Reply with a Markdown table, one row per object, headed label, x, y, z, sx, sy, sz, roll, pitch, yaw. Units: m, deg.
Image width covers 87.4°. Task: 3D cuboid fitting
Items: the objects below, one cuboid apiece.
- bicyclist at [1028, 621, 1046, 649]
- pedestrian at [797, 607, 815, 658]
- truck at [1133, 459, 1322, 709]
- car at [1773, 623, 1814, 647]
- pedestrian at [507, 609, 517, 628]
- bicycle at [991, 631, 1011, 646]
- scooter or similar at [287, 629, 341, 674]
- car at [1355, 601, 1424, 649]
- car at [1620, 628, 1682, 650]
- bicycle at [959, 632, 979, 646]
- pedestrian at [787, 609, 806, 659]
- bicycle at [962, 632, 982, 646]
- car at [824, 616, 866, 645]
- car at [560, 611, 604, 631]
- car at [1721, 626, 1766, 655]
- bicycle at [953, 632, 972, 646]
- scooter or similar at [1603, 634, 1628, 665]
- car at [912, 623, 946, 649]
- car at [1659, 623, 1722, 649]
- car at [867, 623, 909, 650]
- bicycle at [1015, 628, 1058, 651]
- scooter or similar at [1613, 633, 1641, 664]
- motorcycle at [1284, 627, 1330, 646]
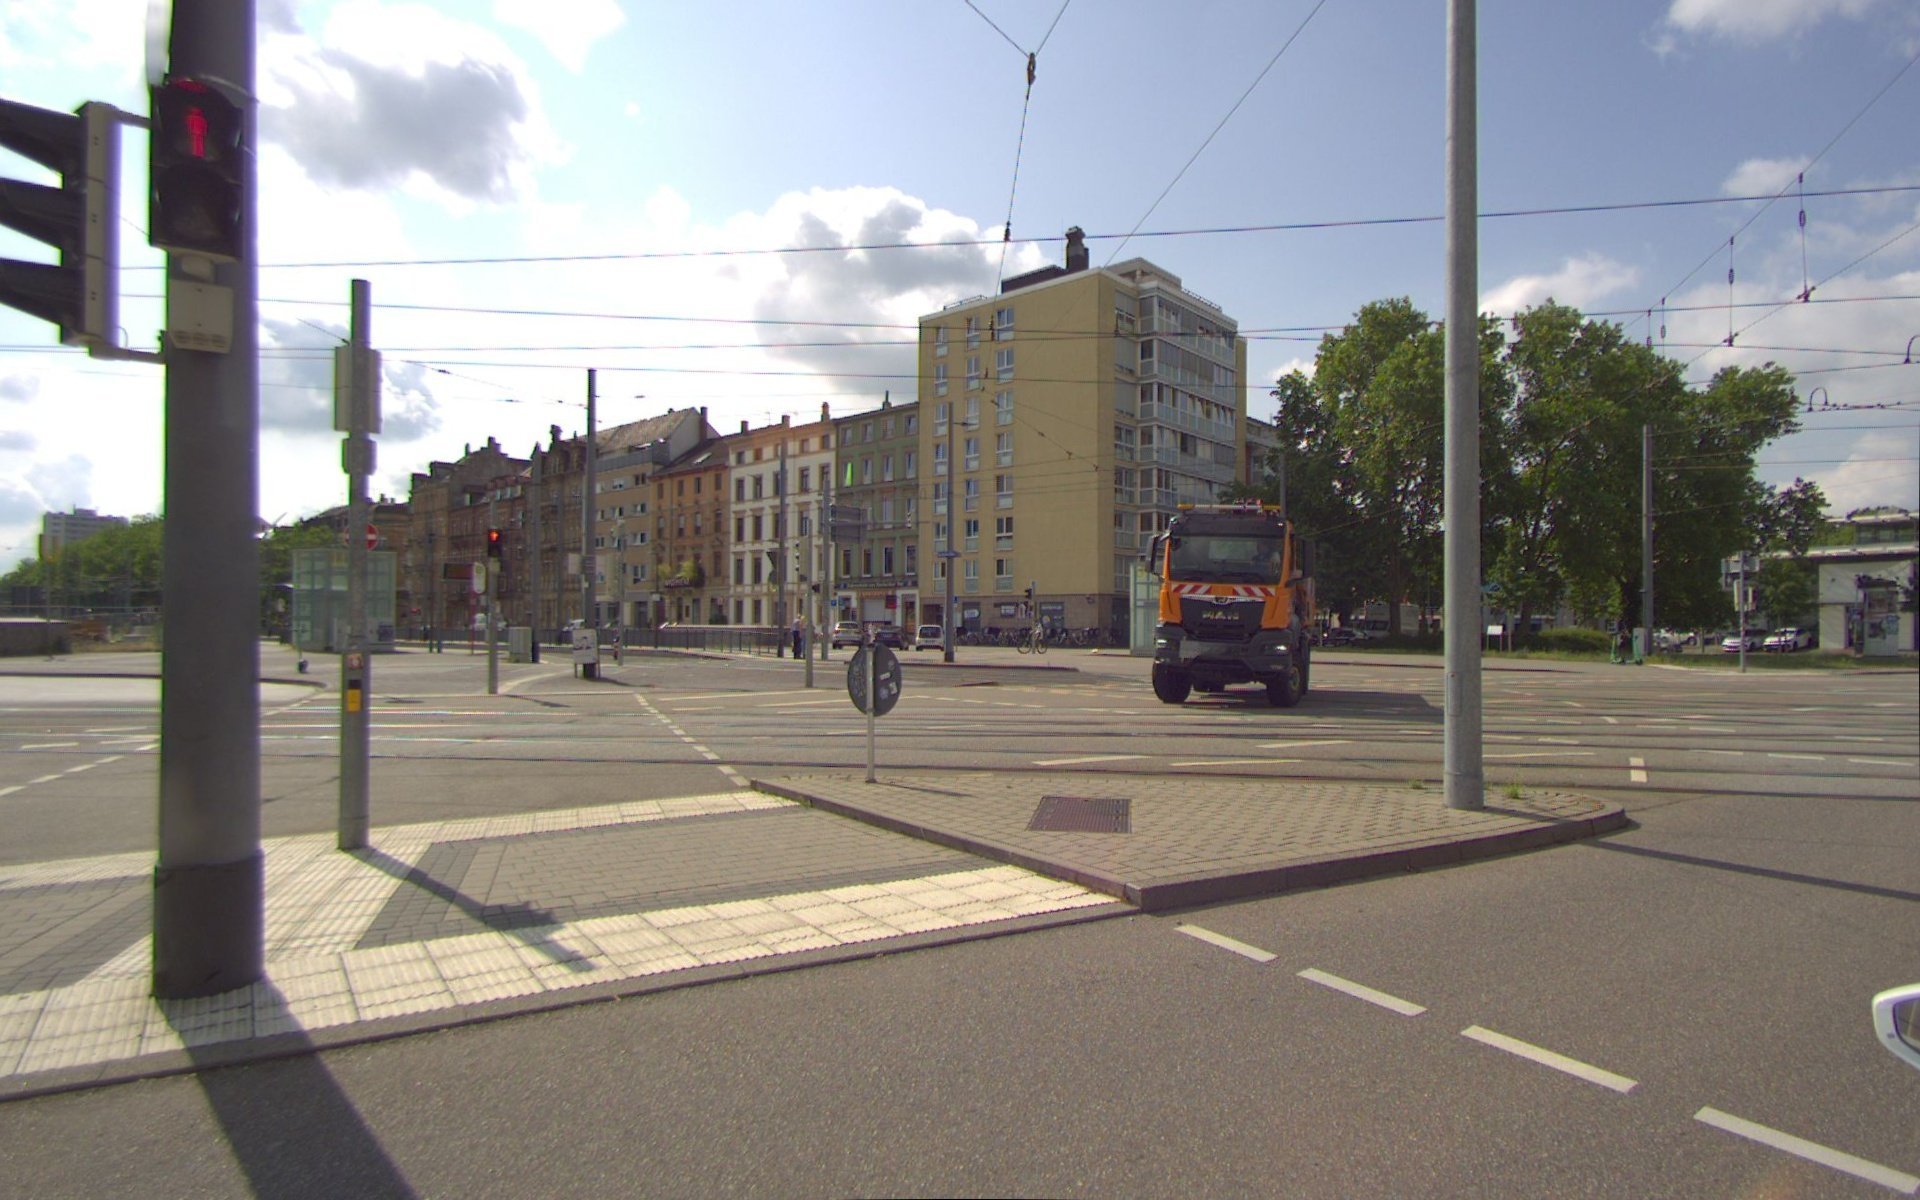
| label | x | y | z | sx | sy | sz | roll | pitch | yaw |
| --- | --- | --- | --- | --- | --- | --- | --- | --- | --- |
| bicyclist | 3.868 | 1.761 | 50.609 | 0.773 | 1.354 | 0.393 | 2 | 0 | -23 |
| pedestrian | -6.183 | 1.289 | 40.257 | 0.568 | 2.040 | 0.426 | 0 | -1 | 31 |
| truck | 5.803 | -0.158 | 20.629 | 2.782 | 4.061 | 8.070 | 0 | -1 | 22 |
| car | 62.825 | 2.636 | 75.706 | 3.968 | 1.704 | 1.770 | 2 | -2 | -40 |
| pedestrian | -45.314 | 1.873 | 101.527 | 0.681 | 1.928 | 0.664 | -1 | -1 | 24 |
| bicycle | 2.664 | 2.514 | 65.650 | 1.443 | 0.935 | 0.291 | 2 | 0 | 43 |
| scooter or similar | -17.530 | 1.376 | 27.252 | 1.148 | 1.182 | 0.811 | -1 | -1 | 33 |
| car | 28.886 | 1.716 | 67.398 | 1.972 | 3.083 | 7.209 | -1 | -2 | 42 |
| car | 54.040 | 3.055 | 78.584 | 1.654 | 1.508 | 3.651 | 1 | 1 | -31 |
| bicycle | 0.611 | 2.607 | 67.321 | 1.442 | 0.935 | 0.292 | 1 | -1 | 40 |
| pedestrian | -6.616 | 1.375 | 40.663 | 0.506 | 2.040 | 0.502 | 0 | -1 | 31 |
| bicycle | 0.816 | 2.608 | 67.564 | 1.442 | 0.935 | 0.292 | 0 | -1 | 40 |
| car | -7.050 | 1.908 | 61.907 | 2.021 | 1.668 | 4.597 | 0 | -3 | 0 |
| car | -38.163 | 2.118 | 101.467 | 4.677 | 1.886 | 1.993 | -2 | -2 | 37 |
| car | 60.820 | 3.137 | 77.962 | 3.968 | 2.040 | 1.976 | 2 | 1 | -40 |
| bicycle | 0.163 | 2.612 | 67.115 | 1.442 | 0.935 | 0.292 | 0 | -1 | 40 |
| scooter or similar | 26.992 | 2.044 | 41.398 | 0.374 | 1.212 | 1.065 | 2 | 0 | 5 |
| car | -1.750 | 2.088 | 58.029 | 1.743 | 1.472 | 3.498 | 0 | -3 | 2 |
| car | 63.002 | 3.074 | 86.689 | 1.974 | 2.040 | 3.973 | 2 | 0 | -26 |
| car | -4.229 | 2.182 | 59.572 | 1.900 | 1.479 | 4.602 | 1 | -2 | 3 |
| bicycle | 3.855 | 2.000 | 50.589 | 2.069 | 1.121 | 0.541 | 2 | 0 | -21 |
| scooter or similar | 27.519 | 2.006 | 41.440 | 0.374 | 1.212 | 1.064 | 2 | 0 | -5 |
| motorcycle | 19.664 | 2.087 | 56.963 | 2.248 | 1.043 | 0.975 | 1 | -3 | 1 |
